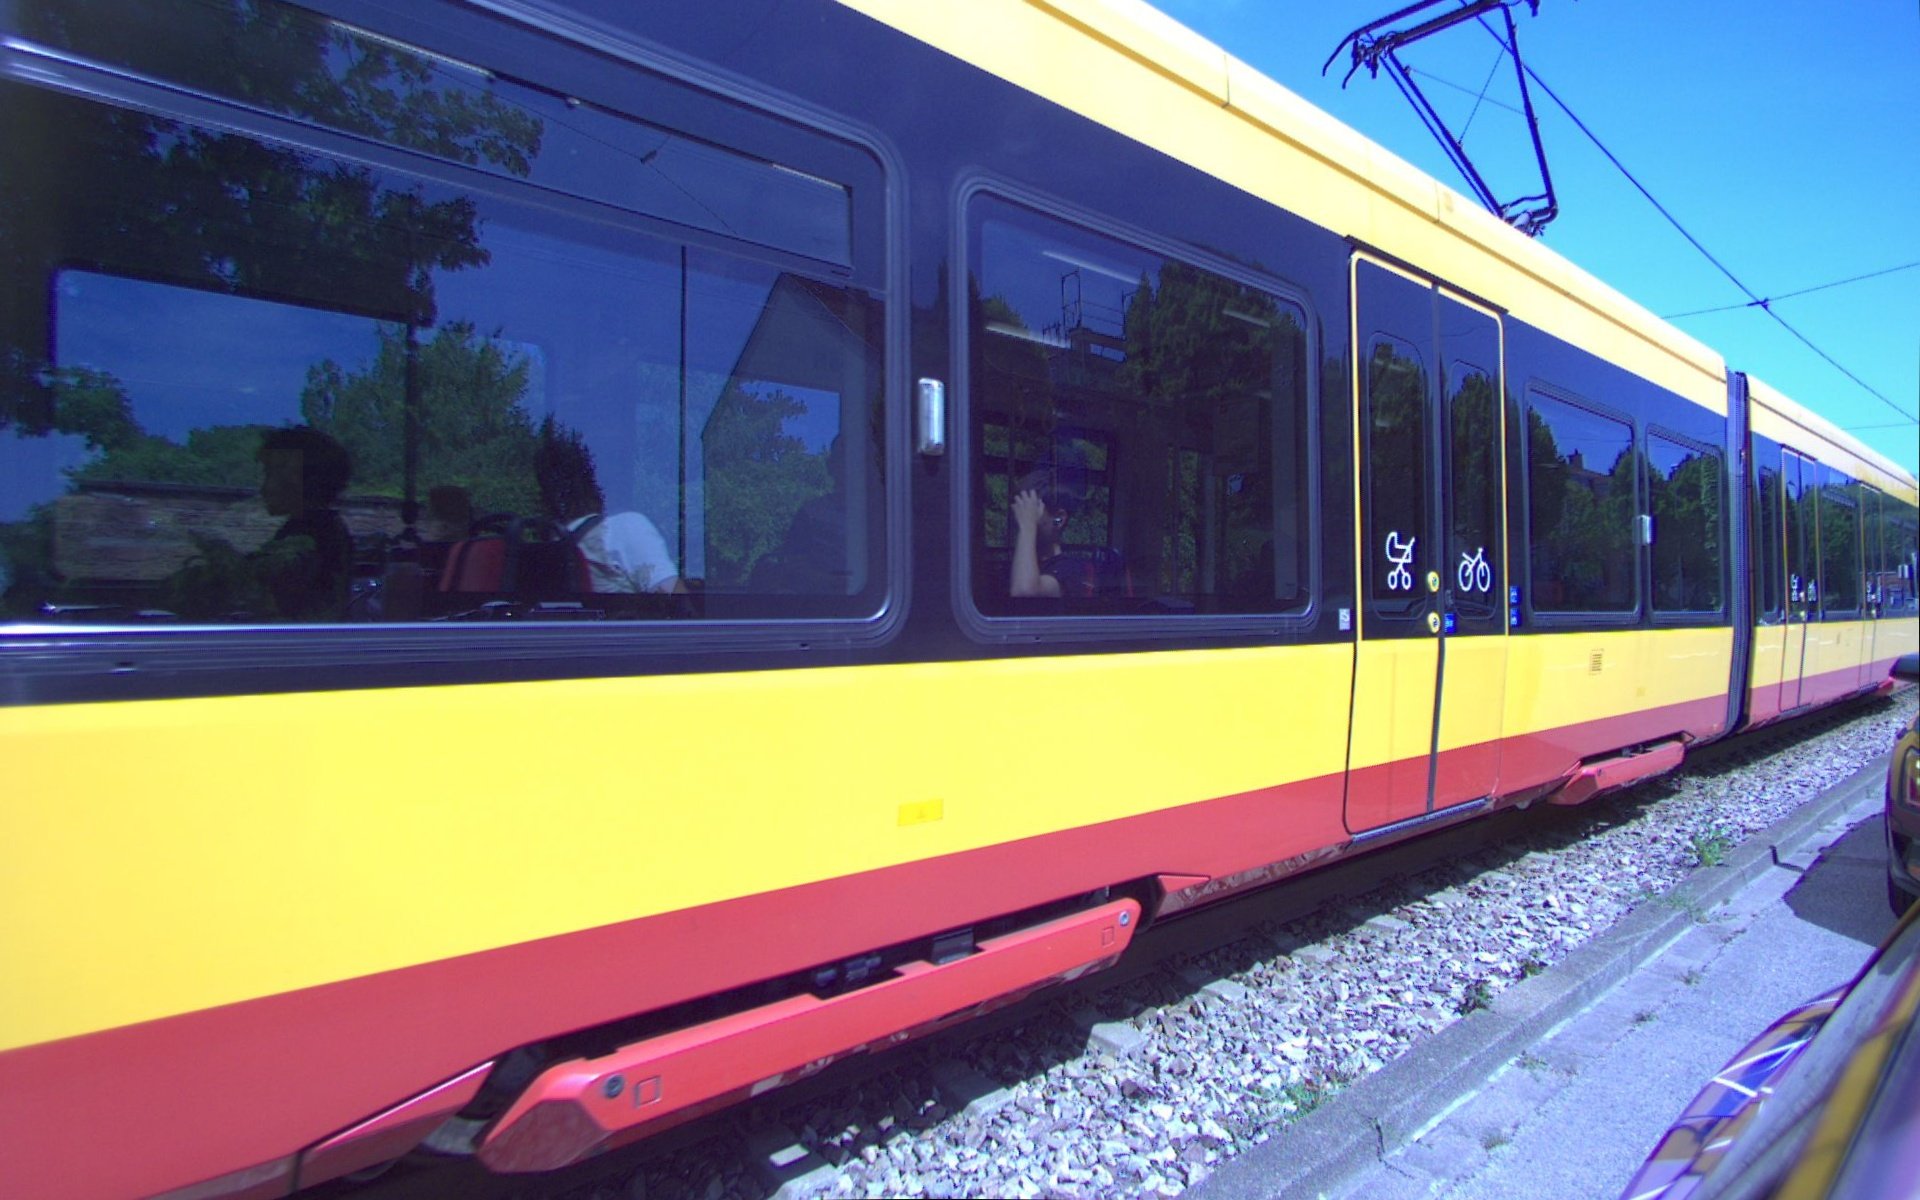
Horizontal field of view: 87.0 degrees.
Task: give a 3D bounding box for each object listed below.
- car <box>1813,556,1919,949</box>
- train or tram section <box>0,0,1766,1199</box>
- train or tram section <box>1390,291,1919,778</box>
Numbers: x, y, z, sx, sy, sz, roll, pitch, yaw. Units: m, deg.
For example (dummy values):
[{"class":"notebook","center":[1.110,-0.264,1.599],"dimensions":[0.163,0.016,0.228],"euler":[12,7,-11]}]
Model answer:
[{"class":"car","center":[5.795,0.601,4.688],"dimensions":[3.927,1.563,2.062],"euler":[0,-1,-38]},{"class":"train or tram section","center":[1.219,-0.647,5.404],"dimensions":[10.755,3.656,2.746],"euler":[0,-1,-40]},{"class":"train or tram section","center":[9.840,-0.472,12.734],"dimensions":[12.641,3.656,2.746],"euler":[0,-1,-40]}]
